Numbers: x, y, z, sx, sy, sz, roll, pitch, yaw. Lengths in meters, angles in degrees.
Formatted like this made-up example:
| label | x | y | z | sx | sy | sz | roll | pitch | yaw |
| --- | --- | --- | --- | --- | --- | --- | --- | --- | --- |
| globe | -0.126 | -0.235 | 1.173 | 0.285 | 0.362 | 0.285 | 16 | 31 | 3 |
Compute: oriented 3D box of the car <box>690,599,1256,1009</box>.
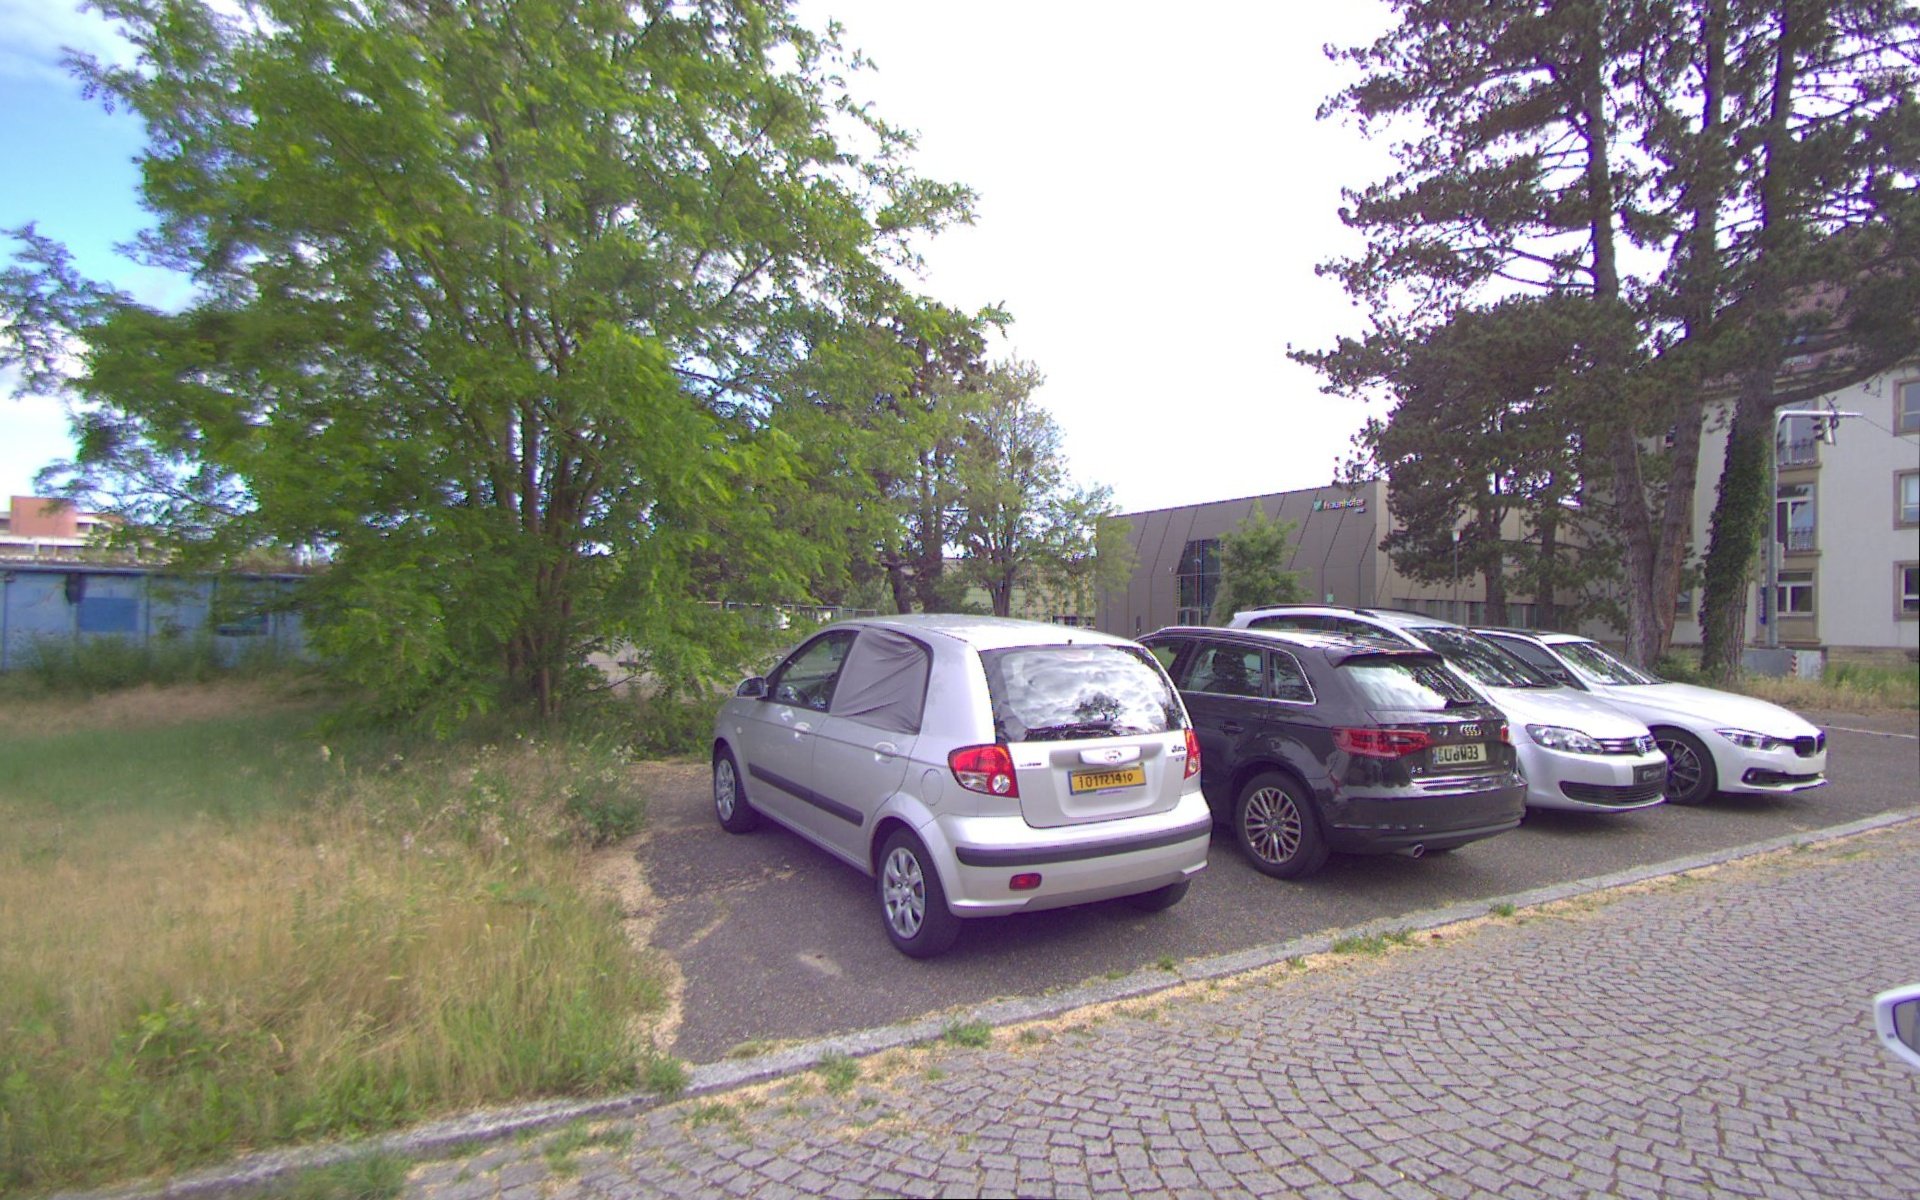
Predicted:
| label | x | y | z | sx | sy | sz | roll | pitch | yaw |
| --- | --- | --- | --- | --- | --- | --- | --- | --- | --- |
| car | -0.244 | 0.823 | 5.941 | 1.565 | 1.499 | 3.681 | 1 | 1 | -32 |

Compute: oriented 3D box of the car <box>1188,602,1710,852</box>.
| label | x | y | z | sx | sy | sz | roll | pitch | yaw |
| --- | --- | --- | --- | --- | --- | --- | --- | --- | --- |
| car | 4.079 | 0.901 | 9.042 | 1.632 | 1.584 | 3.925 | 1 | 1 | -32 |

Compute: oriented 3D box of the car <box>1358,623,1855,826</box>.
| label | x | y | z | sx | sy | sz | roll | pitch | yaw |
| --- | --- | --- | --- | --- | --- | --- | --- | --- | --- |
| car | 6.275 | 1.061 | 10.245 | 1.631 | 1.440 | 3.928 | 1 | 1 | -30 |

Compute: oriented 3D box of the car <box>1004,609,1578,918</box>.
| label | x | y | z | sx | sy | sz | roll | pitch | yaw |
| --- | --- | --- | --- | --- | --- | --- | --- | --- | --- |
| car | 2.031 | 0.874 | 7.178 | 1.565 | 1.448 | 3.724 | 1 | 1 | -32 |
